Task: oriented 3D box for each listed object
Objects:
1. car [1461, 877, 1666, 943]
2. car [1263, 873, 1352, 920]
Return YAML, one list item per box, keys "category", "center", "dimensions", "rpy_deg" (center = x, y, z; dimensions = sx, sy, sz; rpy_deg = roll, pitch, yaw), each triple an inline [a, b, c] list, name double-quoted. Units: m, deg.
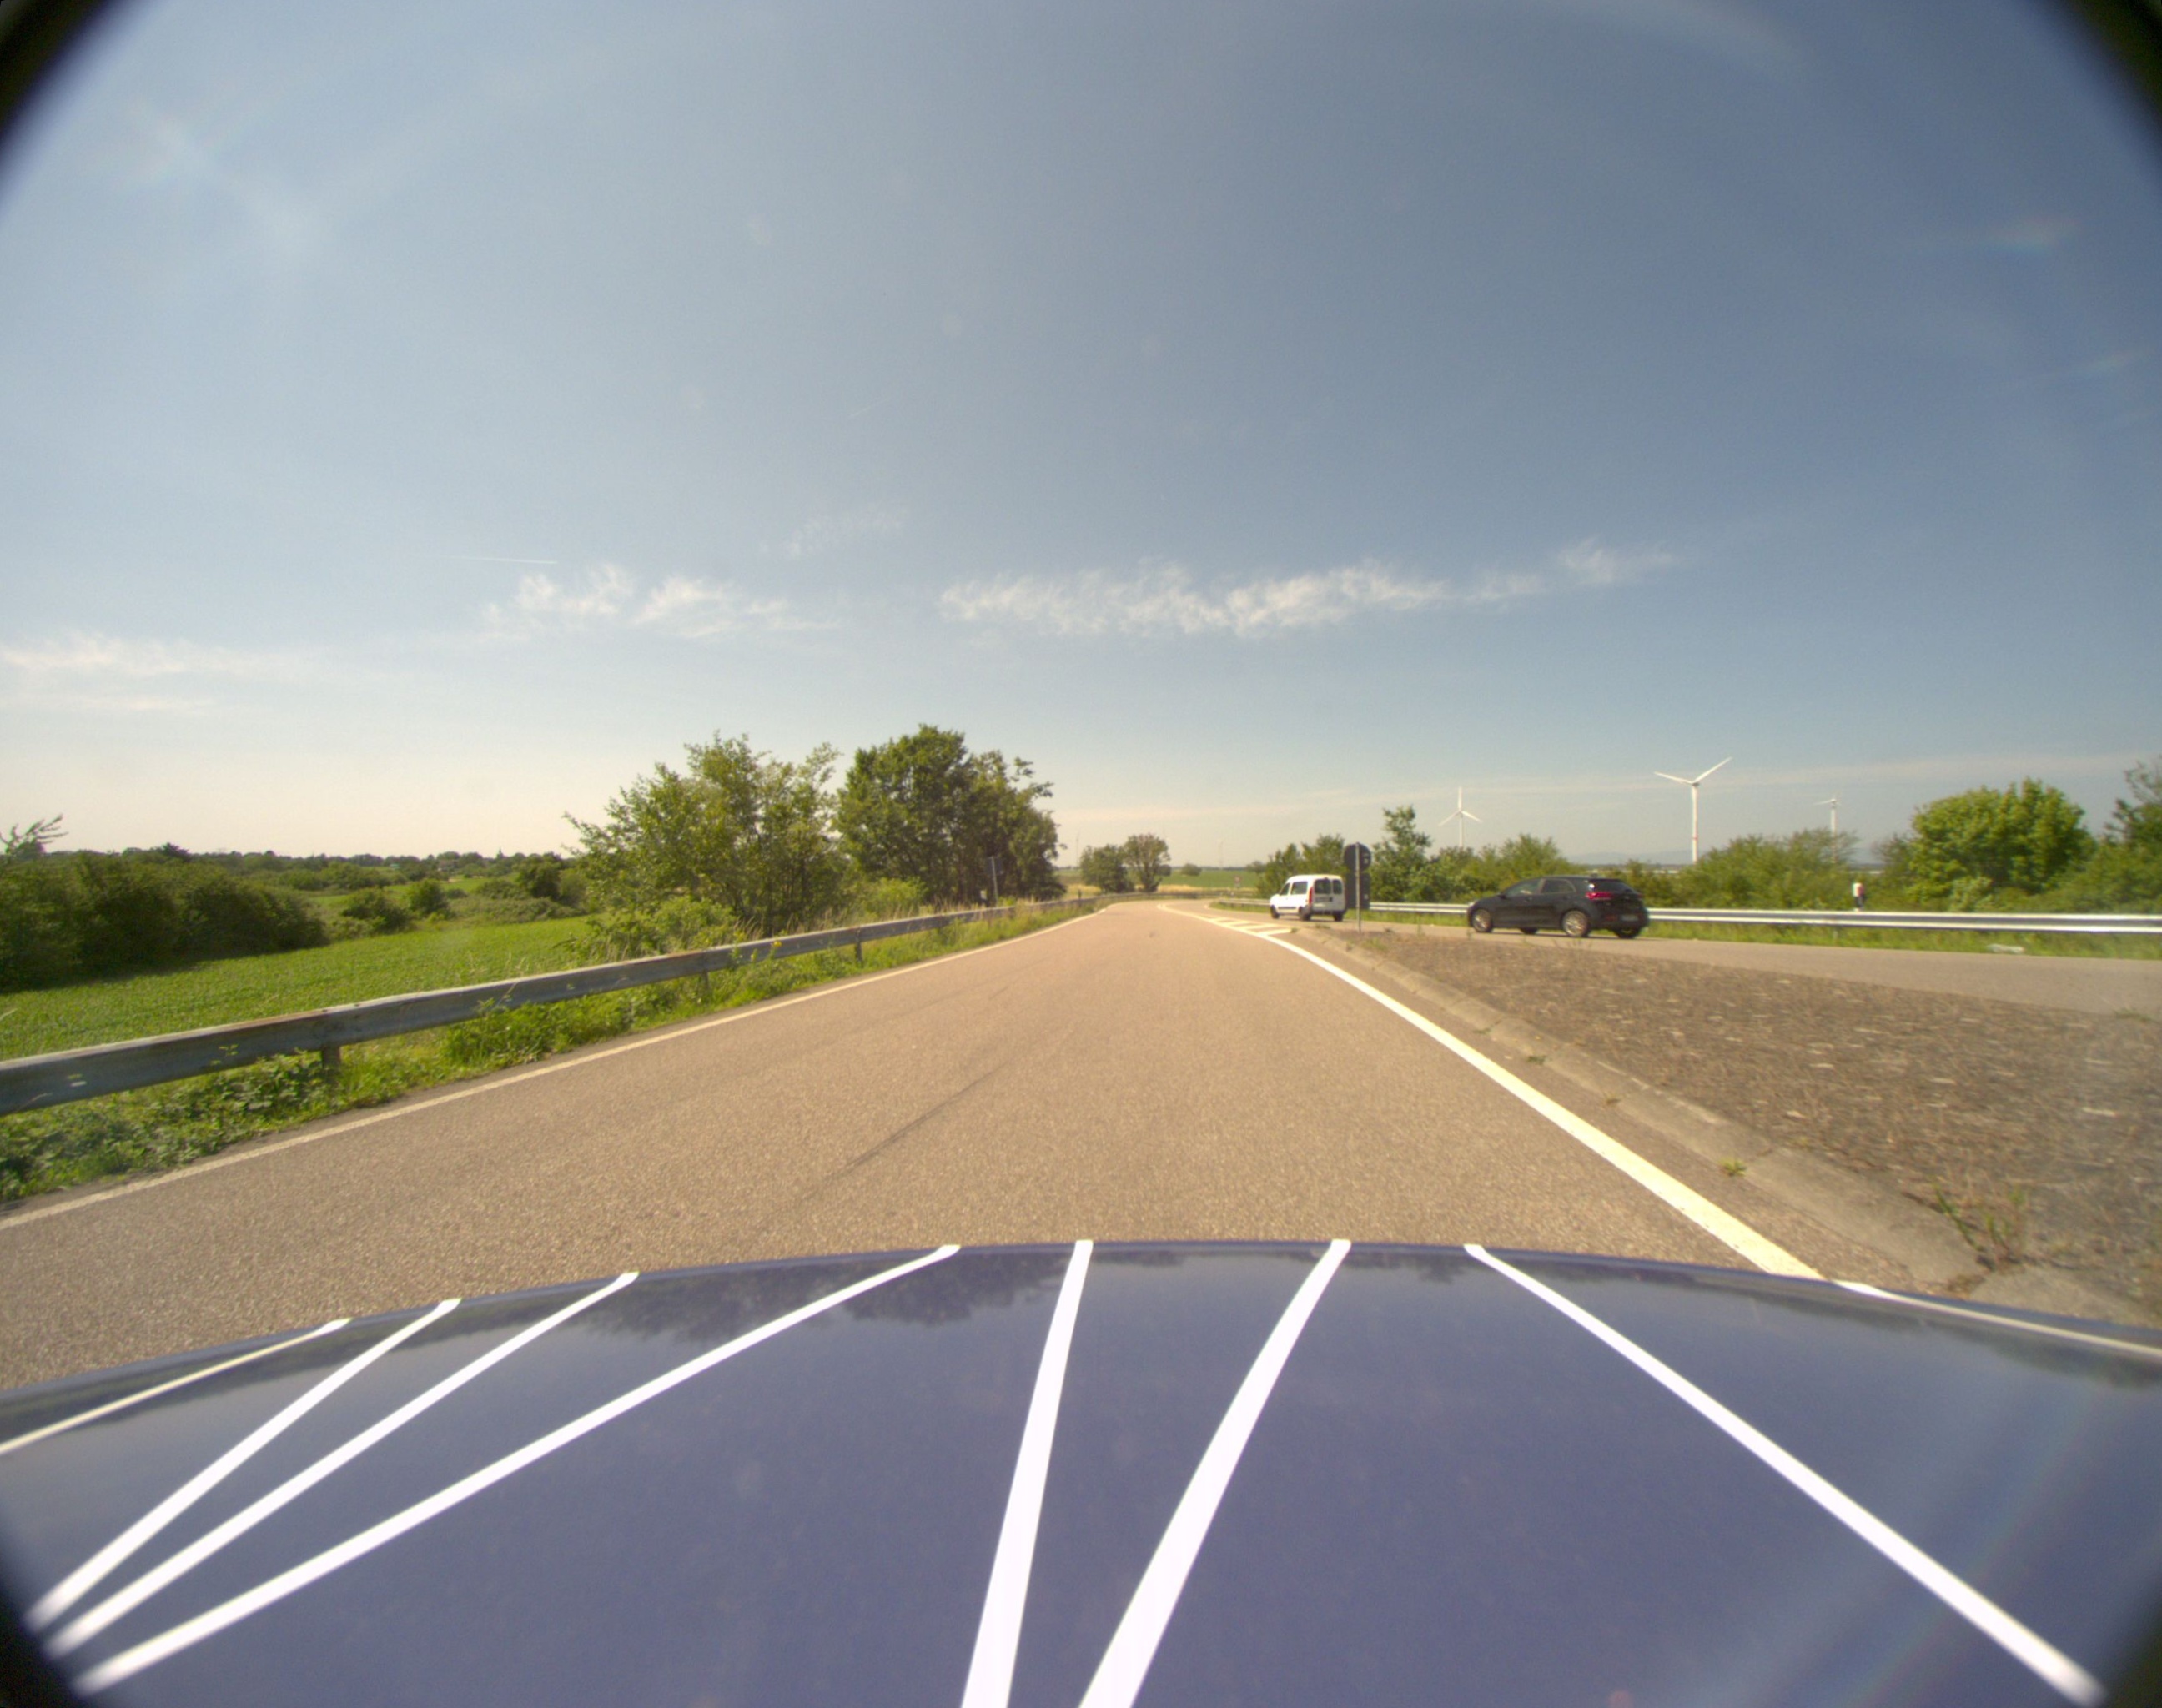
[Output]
- category: "car"
  center: [11.344, 1.289, 18.198]
  dimensions: [1.716, 1.387, 3.882]
  rpy_deg: [1, -3, -20]
- category: "car"
  center: [8.940, 1.685, 30.365]
  dimensions: [1.743, 1.750, 4.081]
  rpy_deg: [0, -3, -11]
